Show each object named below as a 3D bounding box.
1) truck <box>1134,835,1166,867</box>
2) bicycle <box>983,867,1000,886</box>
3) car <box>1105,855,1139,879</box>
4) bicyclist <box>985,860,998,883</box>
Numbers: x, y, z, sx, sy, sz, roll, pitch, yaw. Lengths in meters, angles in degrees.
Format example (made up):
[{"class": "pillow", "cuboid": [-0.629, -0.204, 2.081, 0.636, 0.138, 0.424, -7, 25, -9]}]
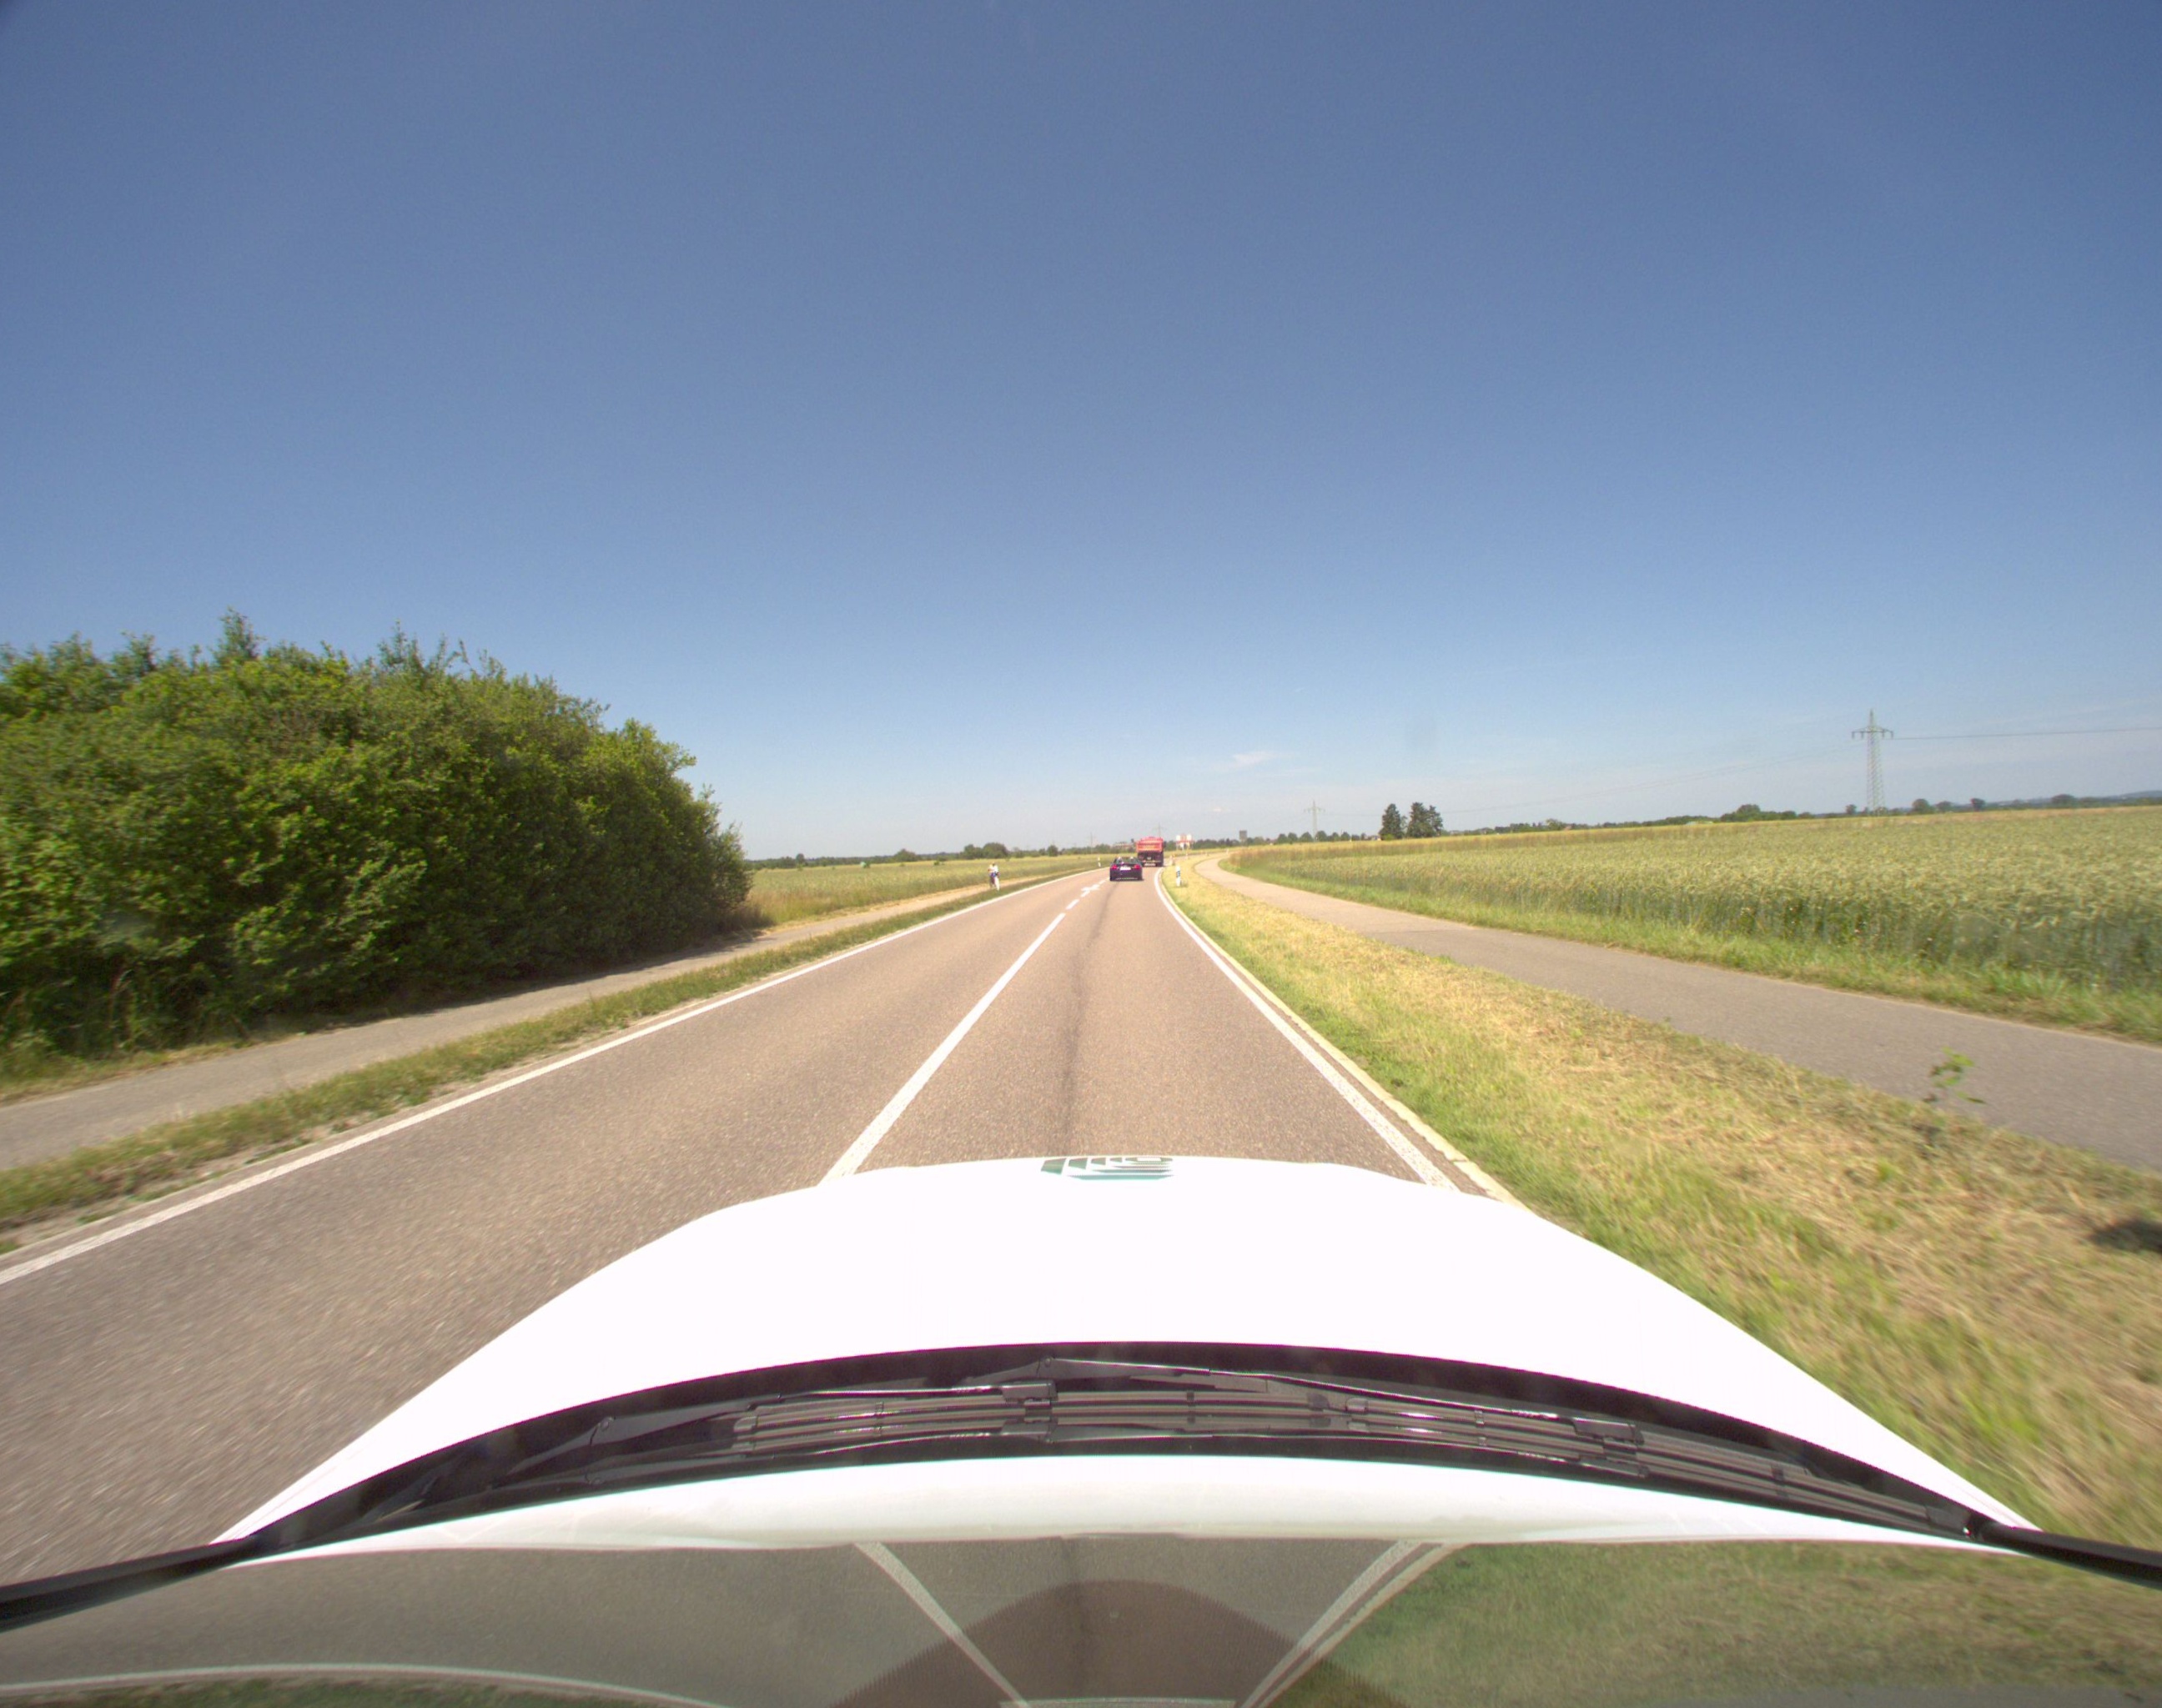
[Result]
[{"class": "truck", "cuboid": [7.178, -0.303, 83.894, 2.923, 3.089, 7.209, -1, 0, 6]}, {"class": "bicycle", "cuboid": [-5.881, 1.472, 53.587, 0.691, 1.176, 1.966, -3, 0, 5]}, {"class": "car", "cuboid": [2.313, 0.688, 44.979, 1.736, 1.280, 4.005, -1, 0, 4]}, {"class": "bicyclist", "cuboid": [-5.888, 1.151, 53.547, 0.660, 1.438, 0.824, -1, 0, 5]}]
